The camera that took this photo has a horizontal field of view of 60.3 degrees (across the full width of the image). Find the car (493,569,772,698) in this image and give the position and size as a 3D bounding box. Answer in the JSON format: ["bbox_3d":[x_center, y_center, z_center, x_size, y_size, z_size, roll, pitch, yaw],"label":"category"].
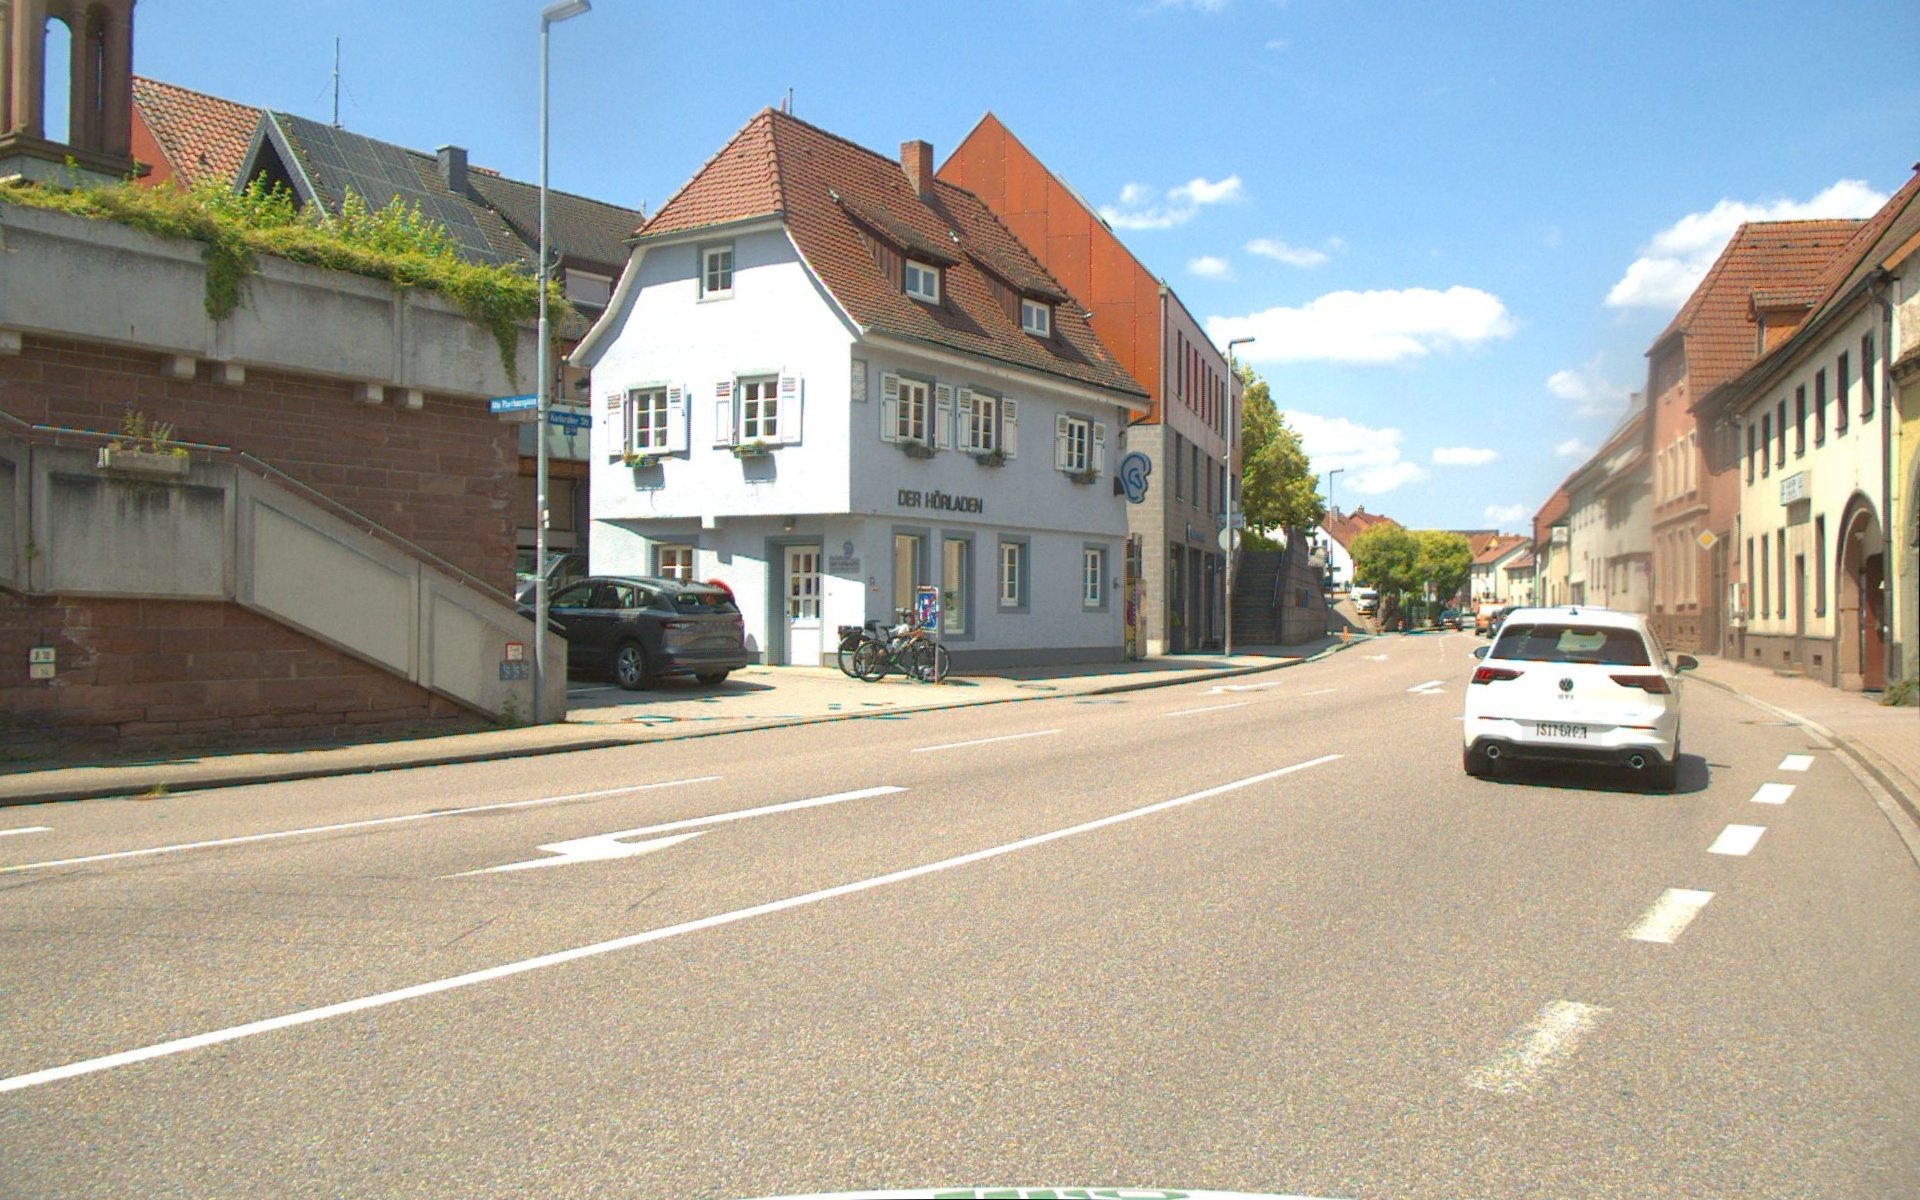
[{"bbox_3d":[-5.145,0.442,25.717,4.242,1.609,1.948,4,4,37],"label":"car"}]

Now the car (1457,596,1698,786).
[{"bbox_3d":[5.751,0.739,15.134,1.747,1.484,3.860,0,-1,25],"label":"car"}]

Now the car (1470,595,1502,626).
[{"bbox_3d":[31.857,0.641,100.256,1.745,1.872,3.865,1,-1,16],"label":"car"}]

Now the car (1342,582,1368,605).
[{"bbox_3d":[31.721,-0.499,132.755,1.951,1.747,4.003,2,0,14],"label":"car"}]

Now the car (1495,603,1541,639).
[{"bbox_3d":[23.835,0.890,70.714,1.745,1.484,3.865,1,-1,17],"label":"car"}]

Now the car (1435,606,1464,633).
[{"bbox_3d":[38.665,1.518,130.499,1.952,2.049,4.001,2,0,19],"label":"car"}]

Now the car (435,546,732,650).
[{"bbox_3d":[-7.971,0.005,35.571,2.479,2.049,5.961,-1,-1,41],"label":"car"}]

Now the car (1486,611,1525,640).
[{"bbox_3d":[28.734,1.339,87.195,1.745,1.484,3.865,1,-1,16],"label":"car"}]

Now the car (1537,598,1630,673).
[{"bbox_3d":[13.208,0.726,34.932,1.746,1.484,3.862,1,-1,22],"label":"car"}]

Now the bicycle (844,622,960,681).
[{"bbox_3d":[-0.960,0.858,27.399,1.792,0.915,0.618,2,0,-23],"label":"bicycle"}]

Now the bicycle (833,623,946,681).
[{"bbox_3d":[-1.192,0.883,28.018,1.792,0.915,0.644,2,0,-23],"label":"bicycle"}]
